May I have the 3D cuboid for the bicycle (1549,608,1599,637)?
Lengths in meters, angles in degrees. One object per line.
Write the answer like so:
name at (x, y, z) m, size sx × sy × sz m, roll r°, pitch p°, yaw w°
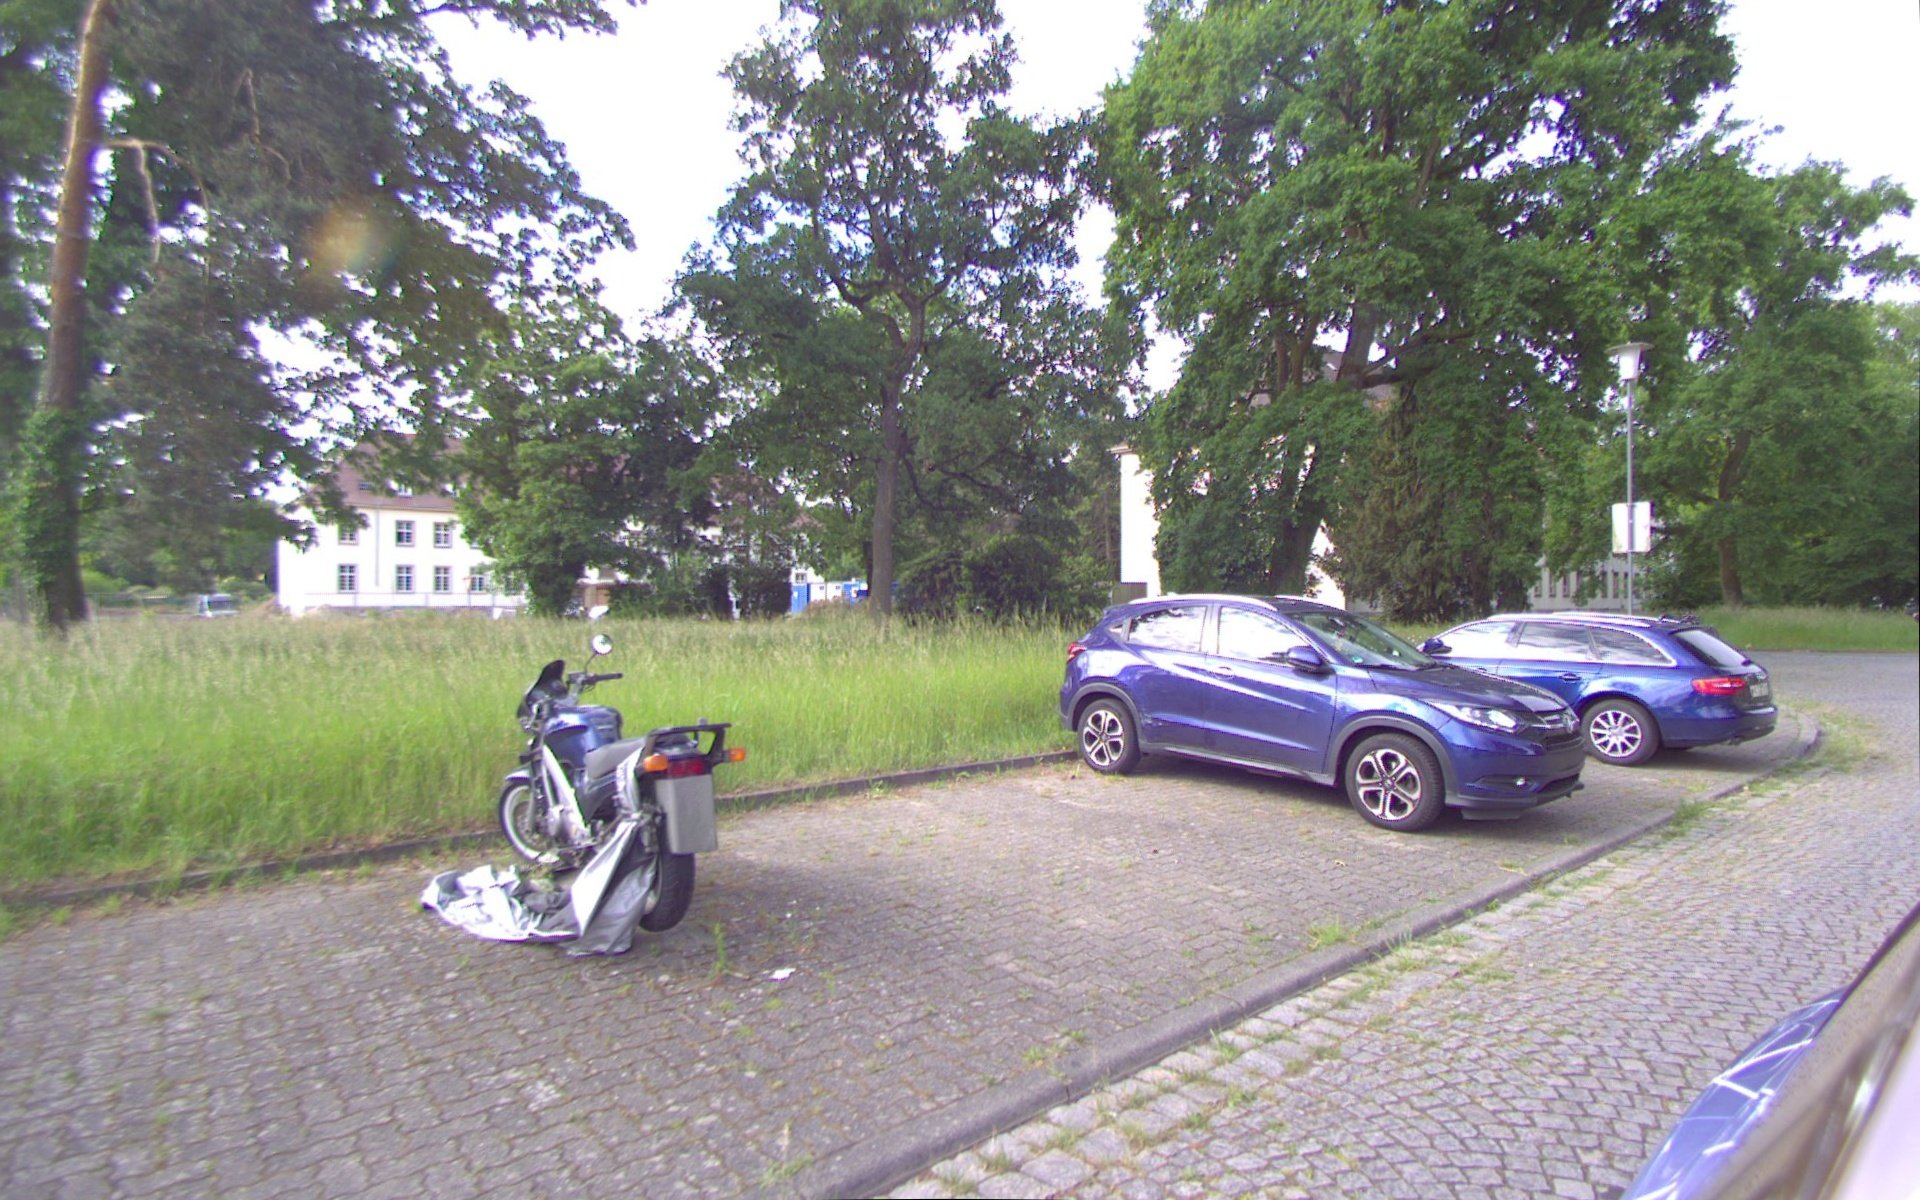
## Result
bicycle at (23.420, 0.848, 38.605) m, size 1.546 × 1.102 × 0.558 m, roll 0°, pitch 0°, yaw 20°

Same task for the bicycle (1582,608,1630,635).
bicycle at (25.419, 0.829, 39.862) m, size 1.550 × 1.047 × 0.472 m, roll 0°, pitch 0°, yaw 27°

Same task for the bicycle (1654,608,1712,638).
bicycle at (27.845, 0.876, 38.992) m, size 1.735 × 1.101 × 0.548 m, roll 0°, pitch 2°, yaw 29°

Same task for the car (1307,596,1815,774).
car at (6.407, 0.745, 11.317) m, size 1.860 × 1.483 × 4.519 m, roll 1°, pitch 1°, yaw -36°

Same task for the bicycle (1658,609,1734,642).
bicycle at (24.655, 0.841, 33.923) m, size 1.999 × 1.022 × 0.474 m, roll 0°, pitch 2°, yaw 29°

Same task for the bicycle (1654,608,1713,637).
bicycle at (28.319, 0.868, 39.617) m, size 1.809 × 1.101 × 0.548 m, roll 0°, pitch 2°, yaw 29°

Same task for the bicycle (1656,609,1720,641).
bicycle at (26.420, 0.891, 36.754) m, size 1.849 × 1.101 × 0.515 m, roll 0°, pitch 2°, yaw 29°

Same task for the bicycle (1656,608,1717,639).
bicycle at (27.483, 0.880, 38.307) m, size 1.792 × 1.101 × 0.548 m, roll 0°, pitch 2°, yaw 29°

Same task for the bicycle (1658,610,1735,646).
bicycle at (24.367, 0.917, 33.534) m, size 1.999 × 1.101 × 0.474 m, roll 0°, pitch 2°, yaw 29°

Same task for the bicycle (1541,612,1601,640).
bicycle at (22.440, 0.956, 37.193) m, size 1.836 × 1.002 × 0.453 m, roll 0°, pitch 0°, yaw 24°

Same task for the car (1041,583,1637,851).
car at (2.838, 0.688, 8.387) m, size 1.862 × 1.593 × 4.272 m, roll 1°, pitch 1°, yaw -40°

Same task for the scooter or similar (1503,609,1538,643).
scooter or similar at (20.647, 0.940, 37.277) m, size 0.378 × 1.210 × 1.063 m, roll 1°, pitch -1°, yaw -37°

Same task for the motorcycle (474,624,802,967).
motorcycle at (-1.693, 0.796, 5.022) m, size 0.596 × 1.291 × 2.265 m, roll 0°, pitch 0°, yaw -44°

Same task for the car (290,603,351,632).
car at (-47.263, 1.285, 74.741) m, size 5.813 × 2.039 × 2.449 m, roll -2°, pitch -1°, yaw 43°

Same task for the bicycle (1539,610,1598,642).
bicycle at (22.076, 0.938, 36.749) m, size 1.793 × 1.101 × 0.475 m, roll 0°, pitch 2°, yaw 24°

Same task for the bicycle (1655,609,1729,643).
bicycle at (25.218, 0.879, 34.896) m, size 1.999 × 1.101 × 0.474 m, roll 0°, pitch 2°, yaw 29°

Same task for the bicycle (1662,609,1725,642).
bicycle at (26.097, 0.897, 36.032) m, size 1.773 × 1.101 × 0.474 m, roll 0°, pitch 2°, yaw 29°

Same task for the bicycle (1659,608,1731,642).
bicycle at (25.651, 0.861, 35.355) m, size 1.999 × 1.101 × 0.474 m, roll 0°, pitch 2°, yaw 29°
